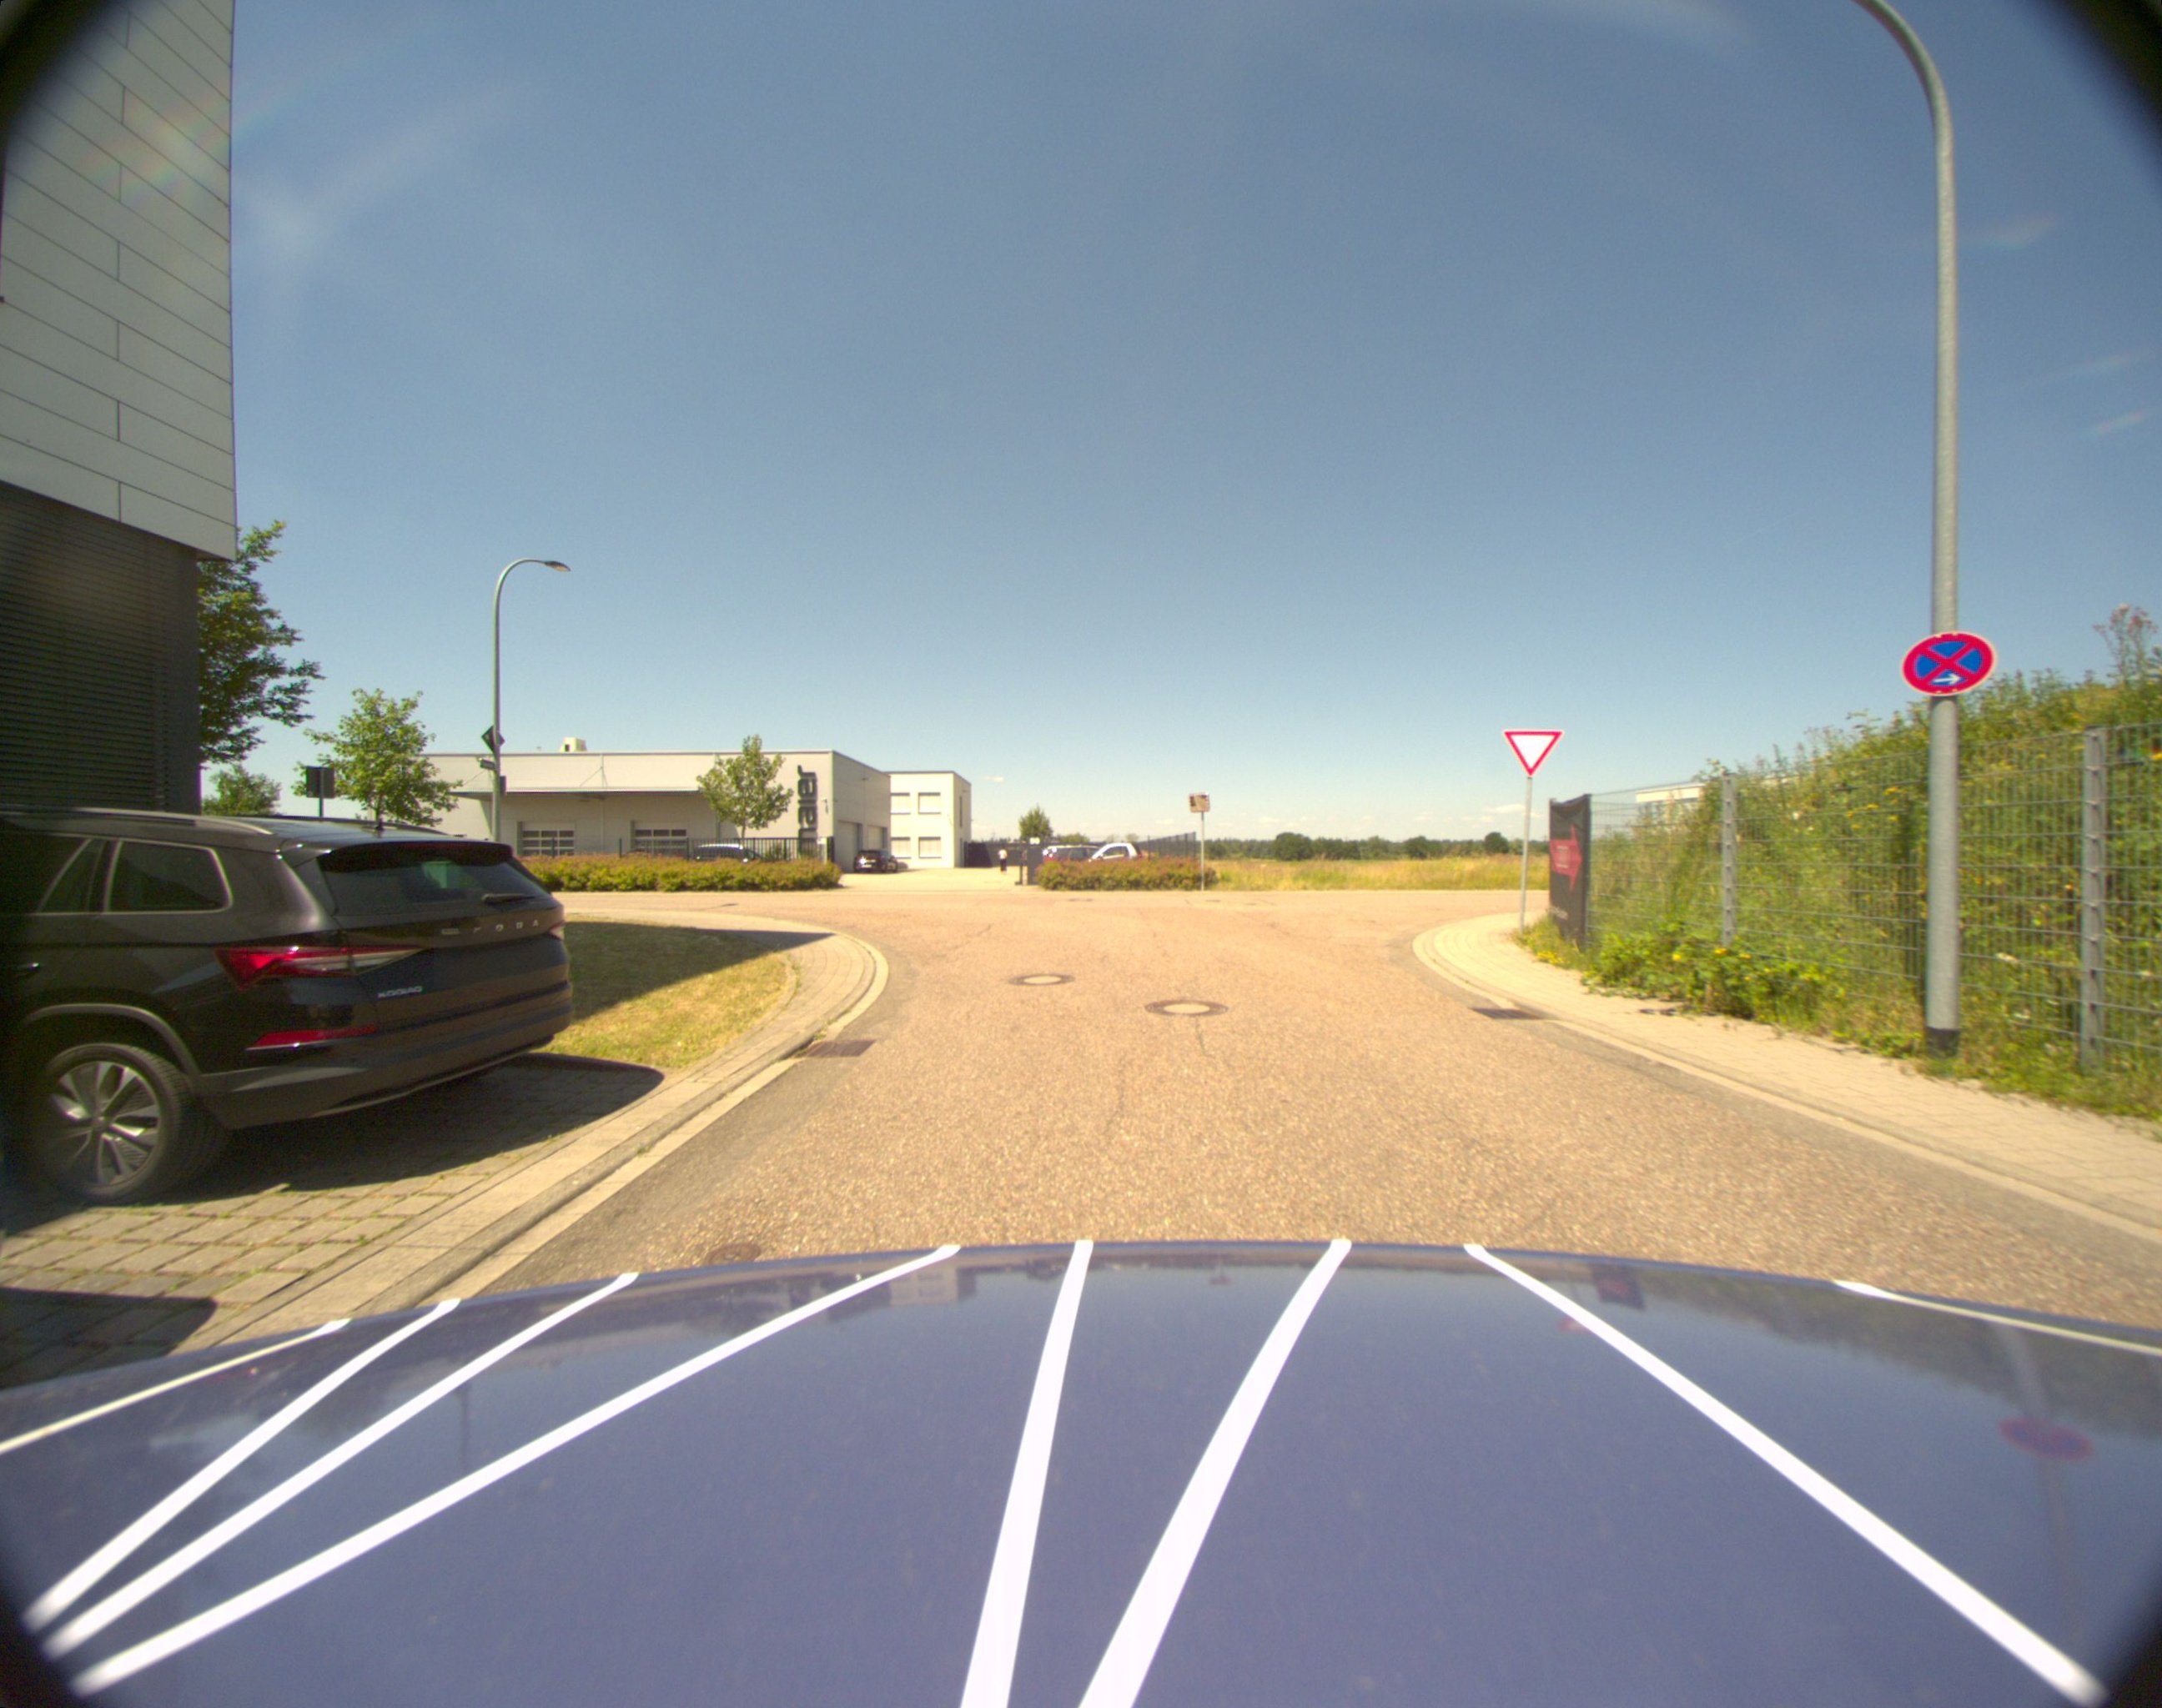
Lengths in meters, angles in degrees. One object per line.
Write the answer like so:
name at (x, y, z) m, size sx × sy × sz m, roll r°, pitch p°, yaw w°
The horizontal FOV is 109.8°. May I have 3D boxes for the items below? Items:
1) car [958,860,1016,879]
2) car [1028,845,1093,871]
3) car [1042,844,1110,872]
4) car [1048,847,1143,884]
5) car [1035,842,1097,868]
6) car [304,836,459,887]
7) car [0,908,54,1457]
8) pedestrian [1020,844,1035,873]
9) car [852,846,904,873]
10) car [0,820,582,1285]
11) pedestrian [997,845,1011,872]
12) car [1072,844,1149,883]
car at (-6.821, 1.142, 55.527) m, size 3.997 × 1.302 × 2.000 m, roll 0°, pitch 1°, yaw 0°
car at (-1.311, 0.251, 47.751) m, size 3.998 × 1.596 × 1.676 m, roll 0°, pitch 0°, yaw -3°
car at (-0.326, 0.219, 45.336) m, size 3.998 × 1.596 × 1.676 m, roll 0°, pitch 0°, yaw -3°
car at (0.594, 0.466, 33.036) m, size 3.998 × 1.532 × 1.830 m, roll 0°, pitch 0°, yaw -3°
car at (-0.992, 0.079, 49.759) m, size 3.998 × 1.596 × 1.676 m, roll 1°, pitch 1°, yaw -3°
car at (-29.819, 0.281, 32.498) m, size 4.690 × 2.087 × 2.007 m, roll 0°, pitch 2°, yaw 1°
car at (-4.779, 0.881, 1.228) m, size 3.721 × 1.486 × 1.782 m, roll 1°, pitch 1°, yaw -1°
pedestrian at (-3.135, 0.243, 44.646) m, size 0.830 × 1.673 × 0.711 m, roll 0°, pitch 1°, yaw -8°
car at (-11.422, 0.279, 42.948) m, size 1.796 × 1.412 × 3.870 m, roll 0°, pitch 1°, yaw 2°
car at (-5.066, 0.729, 3.851) m, size 3.996 × 1.755 × 1.725 m, roll 1°, pitch 1°, yaw 3°
pedestrian at (-4.655, 0.257, 45.837) m, size 0.775 × 1.620 × 0.621 m, roll -1°, pitch 1°, yaw -14°
car at (1.168, 0.387, 31.003) m, size 2.996 × 1.511 × 1.705 m, roll 0°, pitch 0°, yaw -3°
